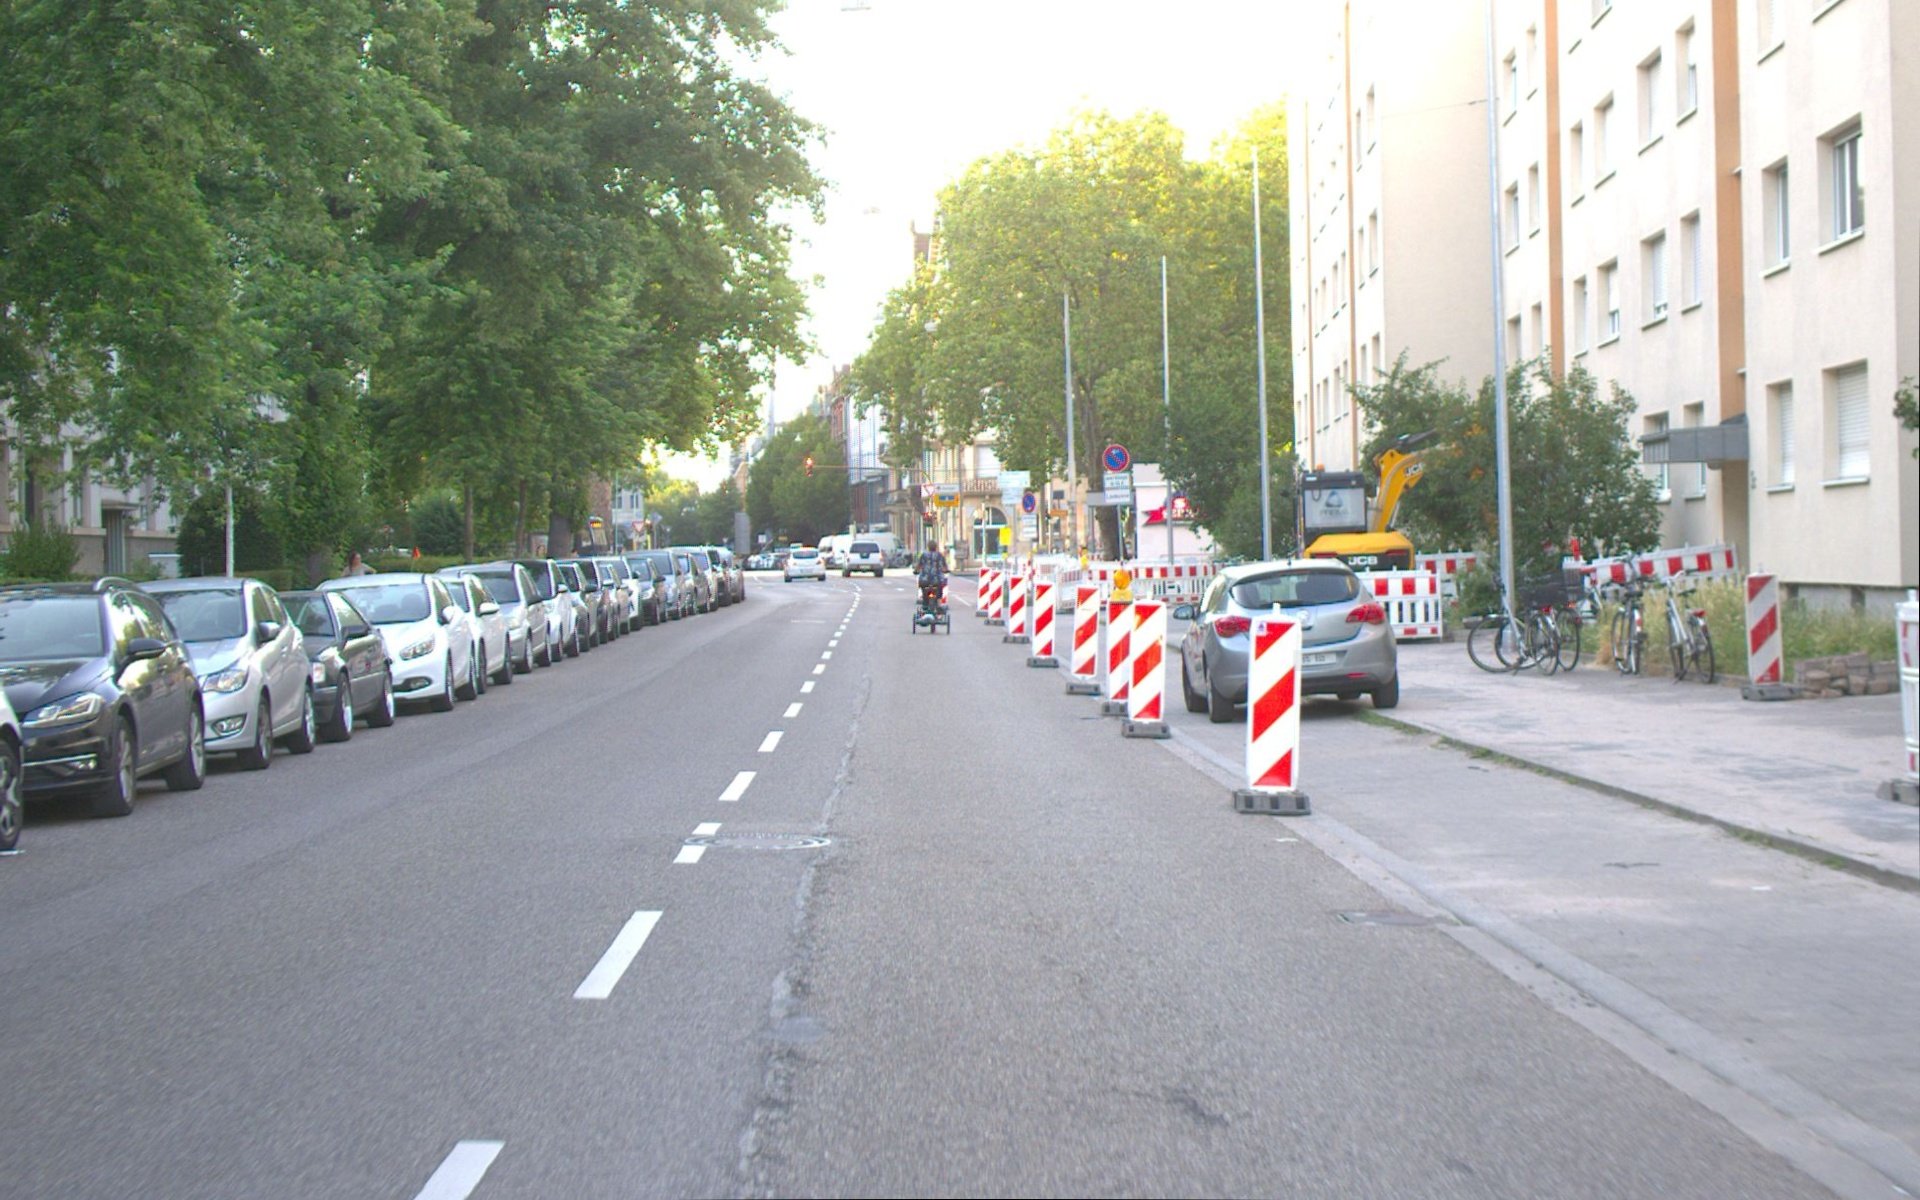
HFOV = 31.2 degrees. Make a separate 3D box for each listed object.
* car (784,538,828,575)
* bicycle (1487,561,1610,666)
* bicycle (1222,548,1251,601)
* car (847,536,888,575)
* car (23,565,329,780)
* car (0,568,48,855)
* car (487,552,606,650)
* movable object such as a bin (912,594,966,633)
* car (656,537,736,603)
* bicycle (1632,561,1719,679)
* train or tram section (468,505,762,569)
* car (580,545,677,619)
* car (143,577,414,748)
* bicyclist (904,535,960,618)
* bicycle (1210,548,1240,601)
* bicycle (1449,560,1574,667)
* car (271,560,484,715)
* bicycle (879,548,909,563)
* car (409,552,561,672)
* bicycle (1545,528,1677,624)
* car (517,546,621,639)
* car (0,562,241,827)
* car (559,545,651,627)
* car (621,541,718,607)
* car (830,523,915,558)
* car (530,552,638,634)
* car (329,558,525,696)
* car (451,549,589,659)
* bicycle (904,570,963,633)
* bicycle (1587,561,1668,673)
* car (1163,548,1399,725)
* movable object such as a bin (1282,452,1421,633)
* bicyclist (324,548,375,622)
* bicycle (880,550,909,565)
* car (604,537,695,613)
[{"bbox_3d":[-6.813,-1.942,152.758,1.866,1.580,4.000,-2,1,-2],"label":"car"},{"bbox_3d":[6.705,0.141,39.248,0.626,1.168,1.817,-1,1,-17],"label":"bicycle"},{"bbox_3d":[6.408,-0.600,79.762,0.398,1.217,1.911,-1,1,-3],"label":"bicycle"},{"bbox_3d":[-4.551,-2.181,168.921,1.866,1.808,4.000,-2,1,-3],"label":"car"},{"bbox_3d":[-6.092,0.514,27.087,1.674,1.454,3.706,-4,1,-3],"label":"car"},{"bbox_3d":[-5.875,0.653,16.654,1.752,1.474,3.944,-4,1,0],"label":"car"},{"bbox_3d":[-6.803,-0.015,56.872,1.590,1.461,4.102,-4,1,-3],"label":"car"},{"bbox_3d":[-0.413,0.263,66.550,0.939,0.686,0.993,-3,1,-4],"label":"movable object such as a bin"},{"bbox_3d":[-7.420,-0.857,97.026,1.953,1.713,4.771,-3,1,-2],"label":"car"},{"bbox_3d":[7.308,0.189,35.179,0.556,1.168,1.817,0,1,2],"label":"bicycle"},{"bbox_3d":[-20.813,-3.762,207.509,17.020,3.613,5.040,0,1,17],"label":"train or tram section"},{"bbox_3d":[-7.209,-0.411,75.091,1.707,1.447,3.843,-4,1,-1],"label":"car"},{"bbox_3d":[-6.236,0.523,31.928,1.674,1.327,4.580,-4,1,-2],"label":"car"},{"bbox_3d":[-0.563,-0.470,68.239,0.939,1.576,1.146,-3,0,-4],"label":"bicyclist"},{"bbox_3d":[6.136,-0.601,79.667,0.451,1.217,1.911,-1,1,-3],"label":"bicycle"},{"bbox_3d":[6.197,0.141,38.739,0.556,1.168,1.817,-1,1,-21],"label":"bicycle"},{"bbox_3d":[-6.199,0.359,36.968,1.692,1.454,4.146,-4,1,-3],"label":"car"},{"bbox_3d":[-4.311,-2.900,224.967,1.914,0.965,0.546,-1,1,-2],"label":"bicycle"},{"bbox_3d":[-6.572,0.134,47.862,1.590,1.500,3.800,-4,1,-1],"label":"car"},{"bbox_3d":[8.403,-0.313,44.375,1.592,1.217,0.485,-1,1,-7],"label":"bicycle"},{"bbox_3d":[-6.926,-0.153,61.143,1.523,1.524,3.165,-4,1,-3],"label":"car"},{"bbox_3d":[-5.935,0.556,22.131,1.752,1.474,4.679,-4,1,-3],"label":"car"},{"bbox_3d":[-7.274,-0.308,70.695,1.590,1.533,4.207,-4,1,-3],"label":"car"},{"bbox_3d":[-7.097,-0.652,84.314,1.733,1.492,4.270,-3,1,3],"label":"car"},{"bbox_3d":[-5.877,-4.032,231.175,5.807,2.280,2.071,-2,1,-44],"label":"car"},{"bbox_3d":[-7.111,-0.166,65.289,1.590,1.399,4.181,-4,1,-1],"label":"car"},{"bbox_3d":[-6.378,0.278,41.536,1.692,1.454,4.484,-4,1,-1],"label":"car"},{"bbox_3d":[-6.663,0.037,52.289,1.590,1.524,2.921,-4,1,1],"label":"car"},{"bbox_3d":[-0.534,0.023,68.229,0.939,1.168,2.359,-3,1,-4],"label":"bicycle"},{"bbox_3d":[7.216,0.168,37.226,0.556,1.168,1.817,0,1,2],"label":"bicycle"},{"bbox_3d":[3.085,0.302,33.834,1.776,1.485,4.573,-5,1,0],"label":"car"},{"bbox_3d":[5.999,-0.880,52.904,1.933,2.684,2.891,-1,1,4],"label":"movable object such as a bin"},{"bbox_3d":[-11.538,-0.290,64.984,0.808,1.399,0.974,0,1,-1],"label":"bicyclist"},{"bbox_3d":[-4.278,-2.783,224.976,1.914,0.965,0.546,-1,1,-2],"label":"bicycle"},{"bbox_3d":[-7.159,-0.595,79.508,1.707,1.595,4.117,-4,1,-1],"label":"car"}]
